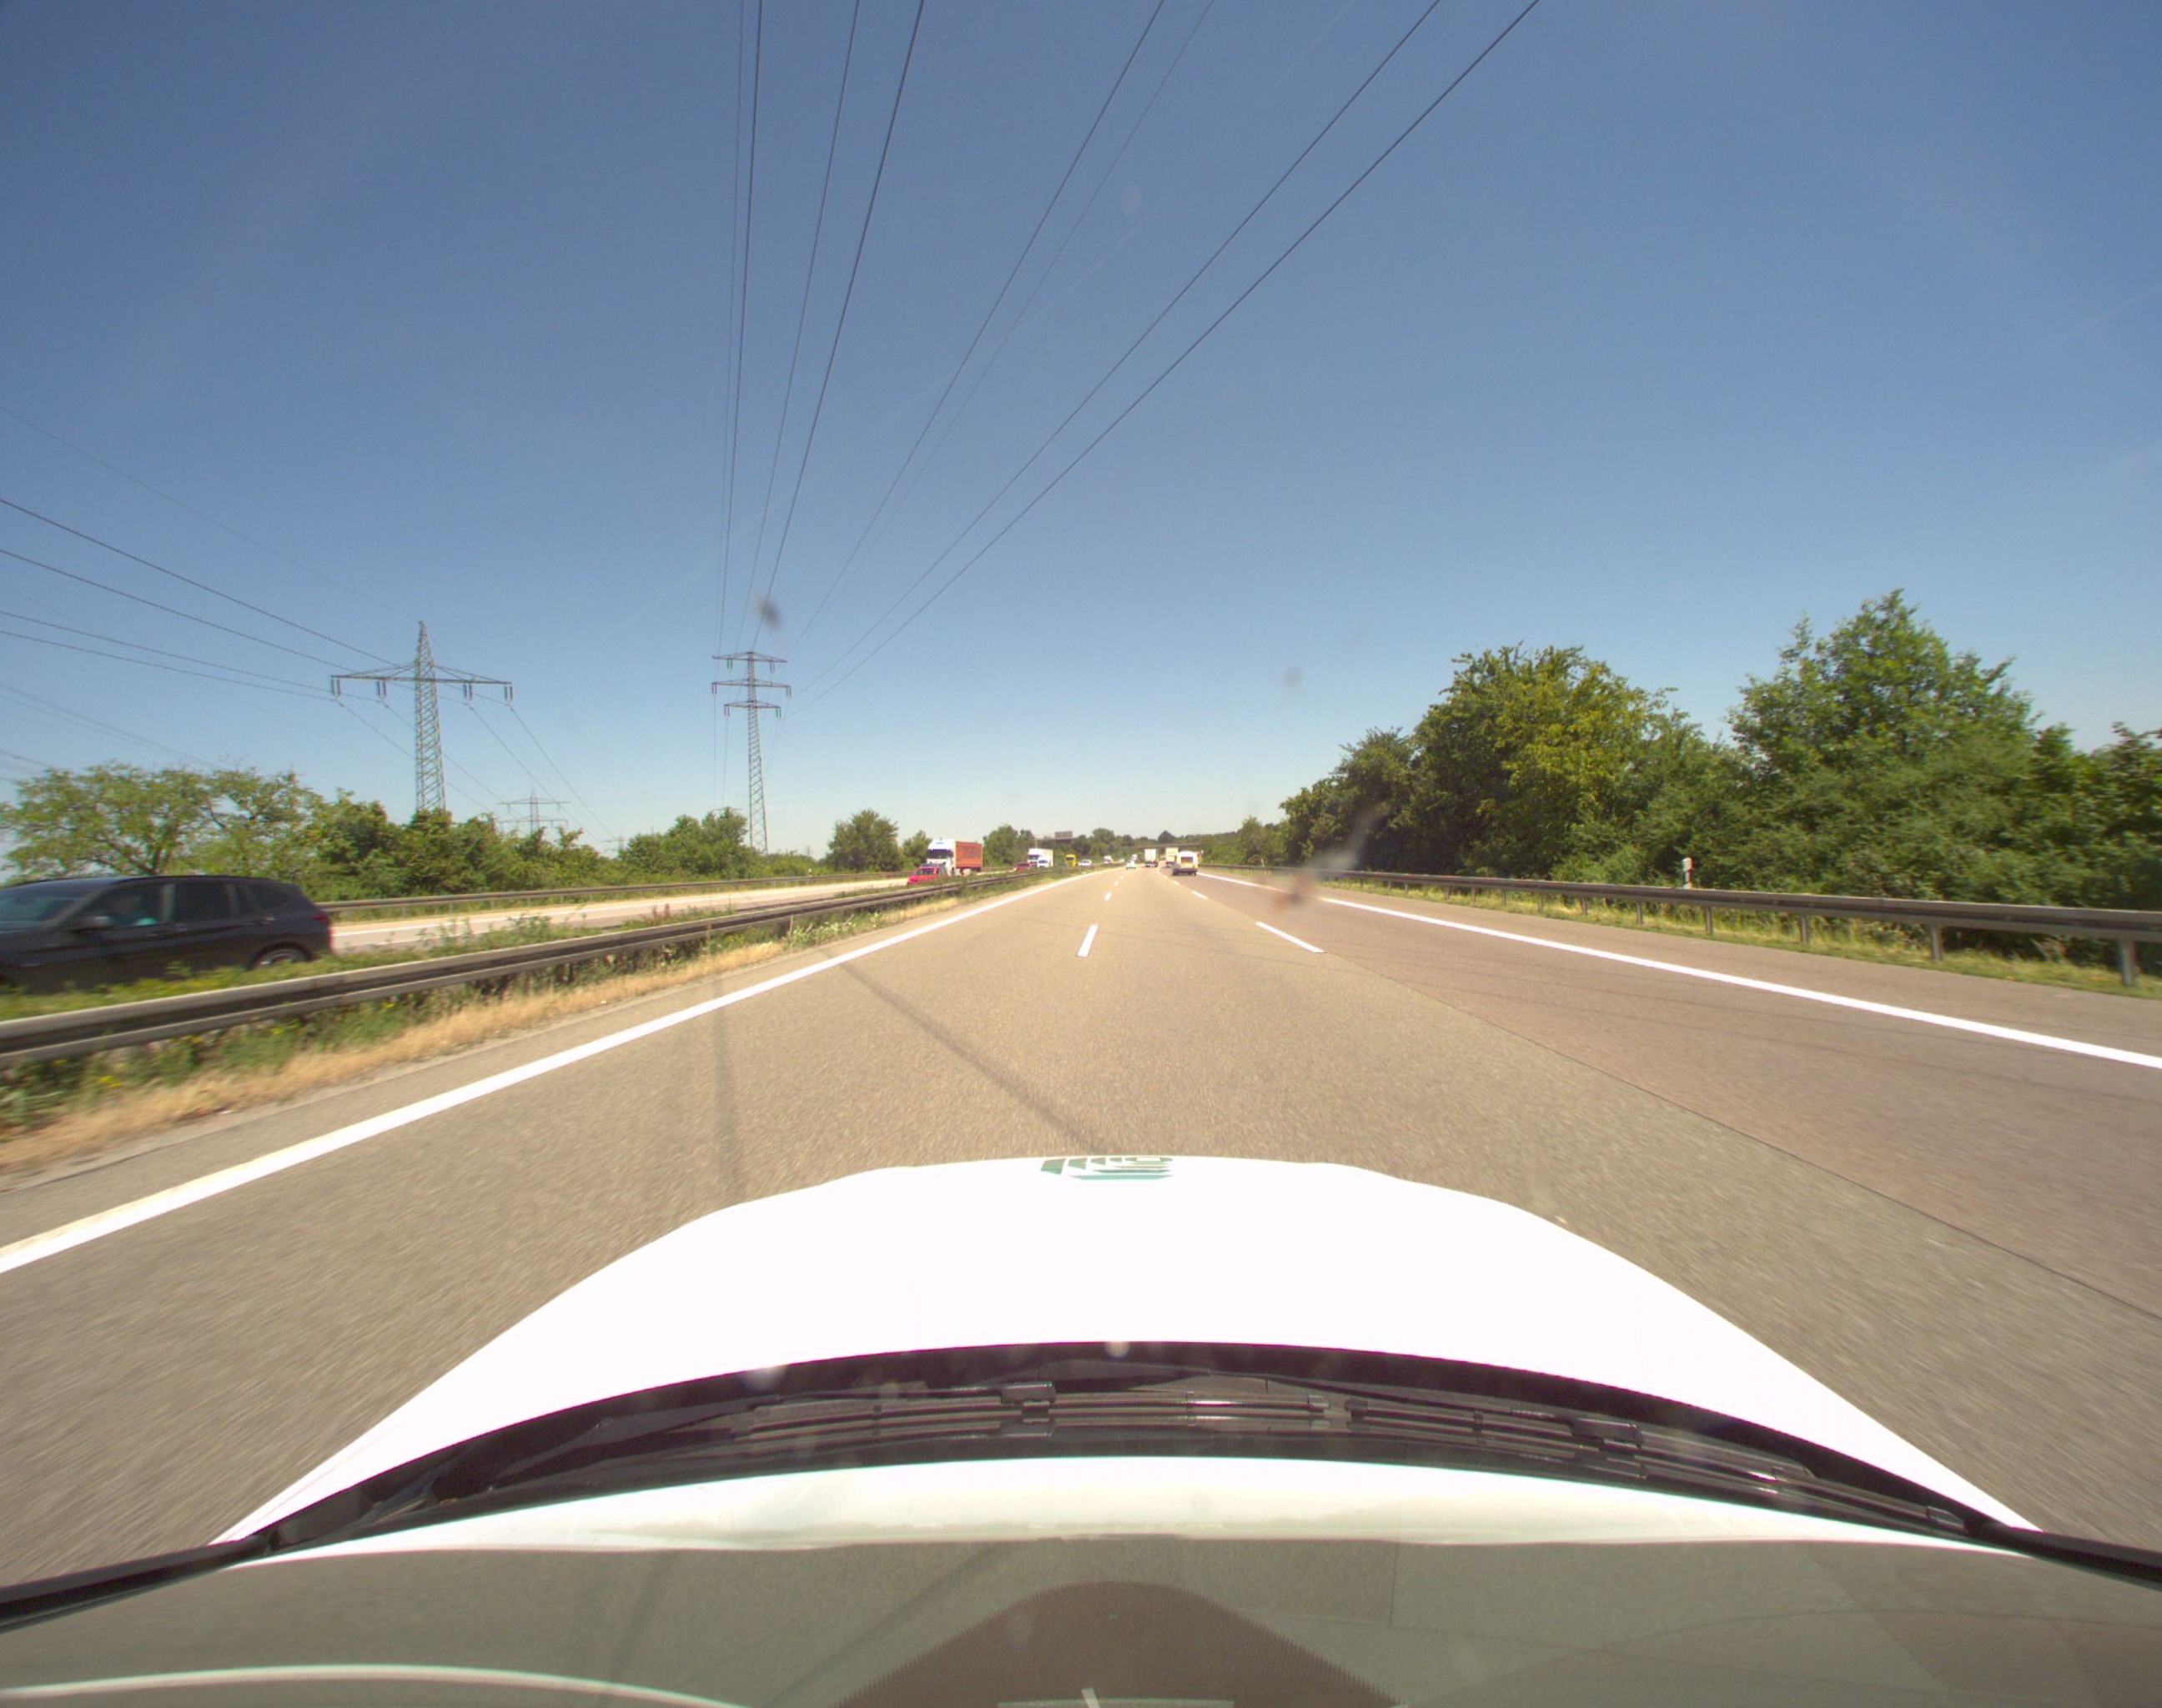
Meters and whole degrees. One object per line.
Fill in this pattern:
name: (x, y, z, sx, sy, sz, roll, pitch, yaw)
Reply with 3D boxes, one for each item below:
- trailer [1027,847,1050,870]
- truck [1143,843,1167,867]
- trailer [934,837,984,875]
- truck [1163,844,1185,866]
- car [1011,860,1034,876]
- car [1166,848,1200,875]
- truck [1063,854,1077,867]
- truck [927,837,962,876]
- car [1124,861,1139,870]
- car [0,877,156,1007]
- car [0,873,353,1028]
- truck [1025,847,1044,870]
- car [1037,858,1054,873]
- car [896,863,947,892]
trailer: (-8.253, 0.808, 159.674, 2.822, 4.258, 13.651, -1, 0, 4)
truck: (16.581, 0.198, 181.084, 3.643, 5.018, 16.068, -1, 1, 11)
trailer: (-13.834, 0.155, 93.640, 2.495, 4.042, 13.603, -1, 1, 5)
truck: (19.505, 0.148, 170.115, 3.160, 4.304, 16.070, -1, 1, 12)
car: (-6.298, 1.492, 87.936, 1.986, 1.549, 4.450, -2, 0, 2)
car: (9.368, 0.650, 75.067, 2.434, 2.321, 5.322, -2, 1, 1)
truck: (-2.774, 1.711, 207.244, 2.510, 3.152, 9.677, -1, -1, 4)
truck: (-14.421, 0.231, 86.326, 2.470, 4.019, 4.608, -1, 1, 4)
car: (9.054, 2.075, 146.875, 1.814, 1.547, 4.337, 0, 0, 15)
car: (-15.022, 1.201, 10.079, 1.986, 1.617, 4.414, -1, 1, 2)
car: (-11.350, 0.985, 9.303, 1.986, 1.435, 4.413, -1, -1, 2)
truck: (-8.710, 0.843, 153.037, 2.818, 4.081, 5.171, -1, -1, 4)
car: (-5.856, 1.901, 135.116, 1.984, 2.471, 6.499, -1, -1, 5)
car: (-8.991, 1.302, 46.237, 1.896, 1.480, 3.962, -2, 0, 2)
